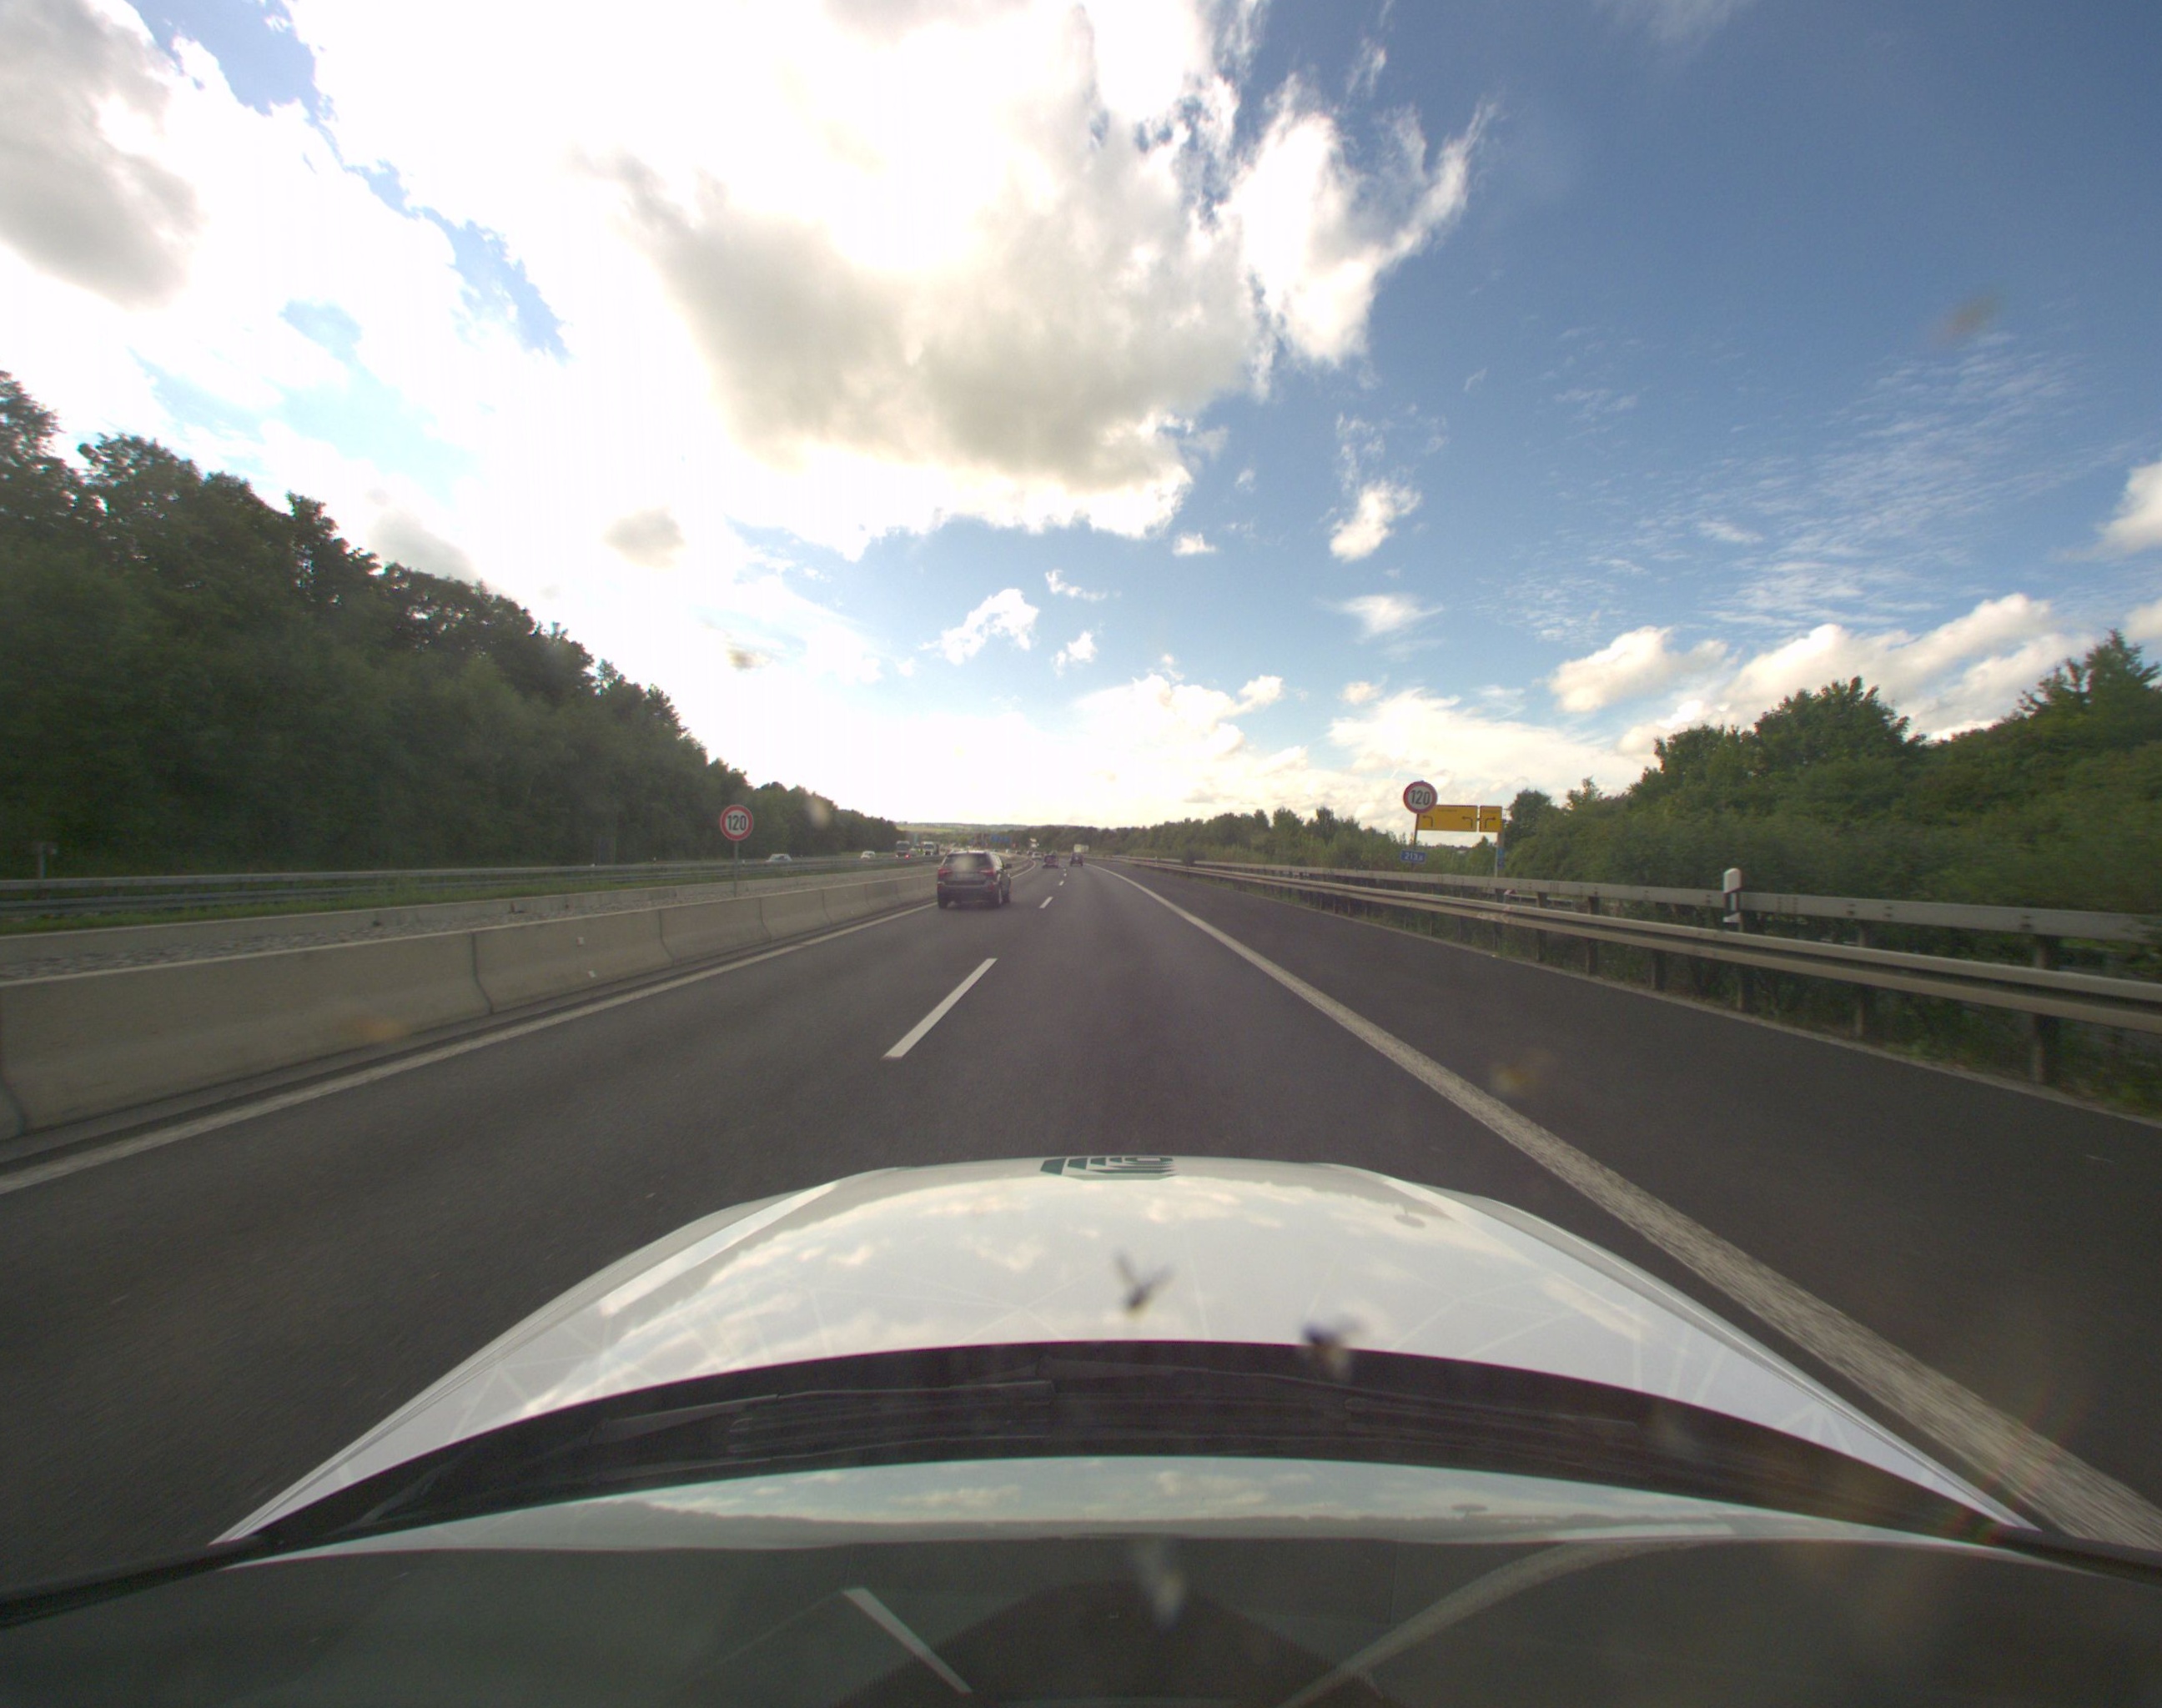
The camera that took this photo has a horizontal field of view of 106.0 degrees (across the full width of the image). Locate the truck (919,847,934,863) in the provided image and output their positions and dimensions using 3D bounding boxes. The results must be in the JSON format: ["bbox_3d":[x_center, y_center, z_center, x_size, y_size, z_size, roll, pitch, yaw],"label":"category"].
[{"bbox_3d":[-41.385,0.355,218.218,3.317,4.293,6.732,0,-1,-7],"label":"truck"}]

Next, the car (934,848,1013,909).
[{"bbox_3d":[-3.295,0.720,25.899,1.812,1.736,5.185,0,0,0],"label":"car"}]

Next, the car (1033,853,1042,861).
[{"bbox_3d":[-9.607,0.628,181.259,1.989,1.684,3.994,0,-1,-4],"label":"car"}]

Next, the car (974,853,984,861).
[{"bbox_3d":[-21.767,0.695,174.095,1.708,1.528,4.762,0,-1,-2],"label":"car"}]

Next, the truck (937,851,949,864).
[{"bbox_3d":[-43.310,1.045,255.763,2.899,3.969,10.438,0,-1,-7],"label":"truck"}]

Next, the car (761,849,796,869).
[{"bbox_3d":[-30.331,0.476,81.708,1.987,2.013,3.999,0,0,0],"label":"car"}]

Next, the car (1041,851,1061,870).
[{"bbox_3d":[-3.383,0.729,92.269,2.024,2.151,4.000,0,0,0],"label":"car"}]

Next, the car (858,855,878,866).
[{"bbox_3d":[-36.325,1.124,138.803,1.987,1.855,5.260,0,-1,0],"label":"car"}]

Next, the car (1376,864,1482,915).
[{"bbox_3d":[12.001,1.166,28.410,1.779,1.571,4.342,0,0,-1],"label":"car"}]

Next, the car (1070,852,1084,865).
[{"bbox_3d":[-0.512,0.588,103.694,1.583,1.597,4.092,0,0,-3],"label":"car"}]

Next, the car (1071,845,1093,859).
[{"bbox_3d":[0.265,-0.714,262.750,4.732,4.266,11.355,0,-1,-12],"label":"car"}]

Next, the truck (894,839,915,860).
[{"bbox_3d":[-32.994,-0.762,152.415,2.805,3.826,7.116,0,0,-5],"label":"truck"}]
